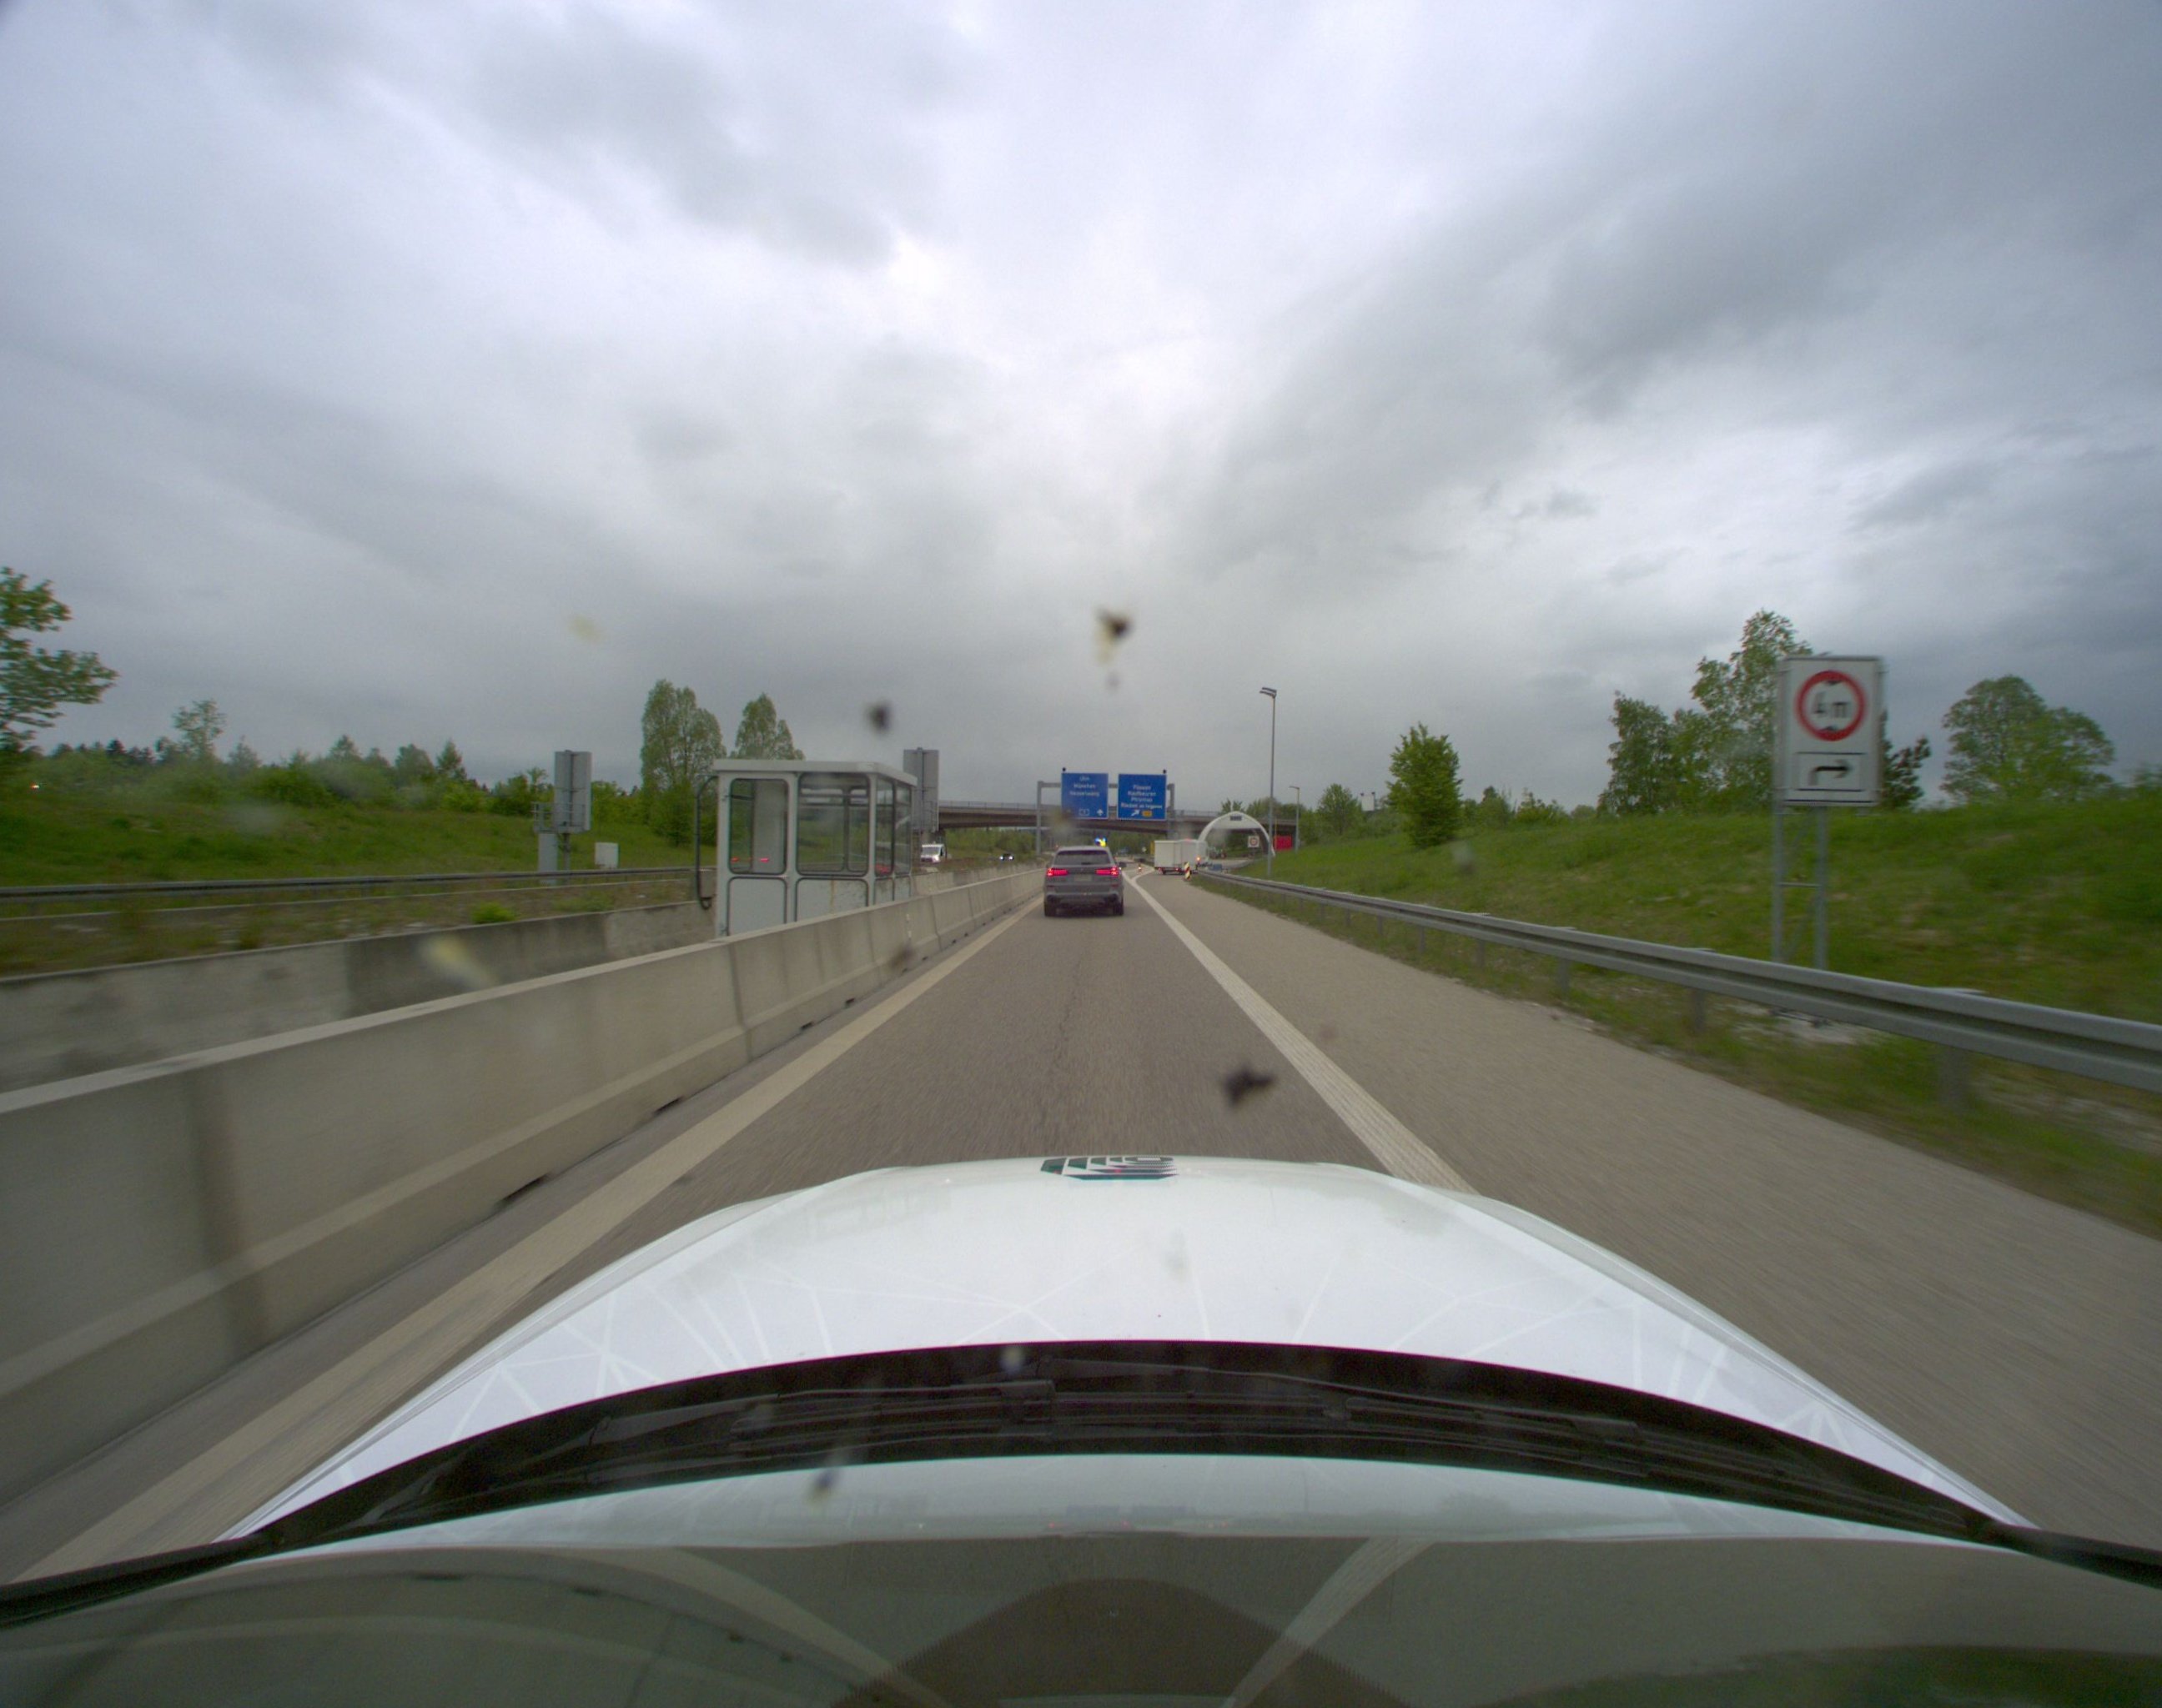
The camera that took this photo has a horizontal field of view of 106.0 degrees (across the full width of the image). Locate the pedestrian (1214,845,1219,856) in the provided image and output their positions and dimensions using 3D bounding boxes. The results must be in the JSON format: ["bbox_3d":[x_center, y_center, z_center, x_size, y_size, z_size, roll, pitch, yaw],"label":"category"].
[{"bbox_3d":[21.177,-0.519,127.131,0.716,1.775,0.691,-1,0,6],"label":"pedestrian"}]

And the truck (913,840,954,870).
[{"bbox_3d":[-12.817,0.102,71.047,2.348,2.479,5.990,0,0,1],"label":"truck"}]

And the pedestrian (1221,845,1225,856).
[{"bbox_3d":[22.347,-0.561,128.062,0.645,1.775,0.606,-1,0,4],"label":"pedestrian"}]

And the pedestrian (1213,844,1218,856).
[{"bbox_3d":[21.195,-0.616,128.094,0.716,1.945,0.691,-1,0,6],"label":"pedestrian"}]

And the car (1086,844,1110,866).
[{"bbox_3d":[1.667,0.072,79.691,2.278,2.013,5.050,-1,1,0],"label":"car"}]

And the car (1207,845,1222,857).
[{"bbox_3d":[20.483,-0.440,124.753,1.984,1.772,3.771,-1,0,6],"label":"car"}]

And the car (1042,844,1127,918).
[{"bbox_3d":[0.151,0.636,21.238,1.986,1.719,4.002,-1,0,2],"label":"car"}]

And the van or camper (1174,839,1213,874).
[{"bbox_3d":[9.369,0.183,67.589,2.139,2.763,5.899,-1,-1,18],"label":"van or camper"}]

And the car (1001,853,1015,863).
[{"bbox_3d":[-10.819,0.575,120.425,1.602,1.500,3.839,0,0,1],"label":"car"}]

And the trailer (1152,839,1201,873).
[{"bbox_3d":[7.282,0.183,61.539,2.260,2.430,6.850,-1,0,19],"label":"trailer"}]
